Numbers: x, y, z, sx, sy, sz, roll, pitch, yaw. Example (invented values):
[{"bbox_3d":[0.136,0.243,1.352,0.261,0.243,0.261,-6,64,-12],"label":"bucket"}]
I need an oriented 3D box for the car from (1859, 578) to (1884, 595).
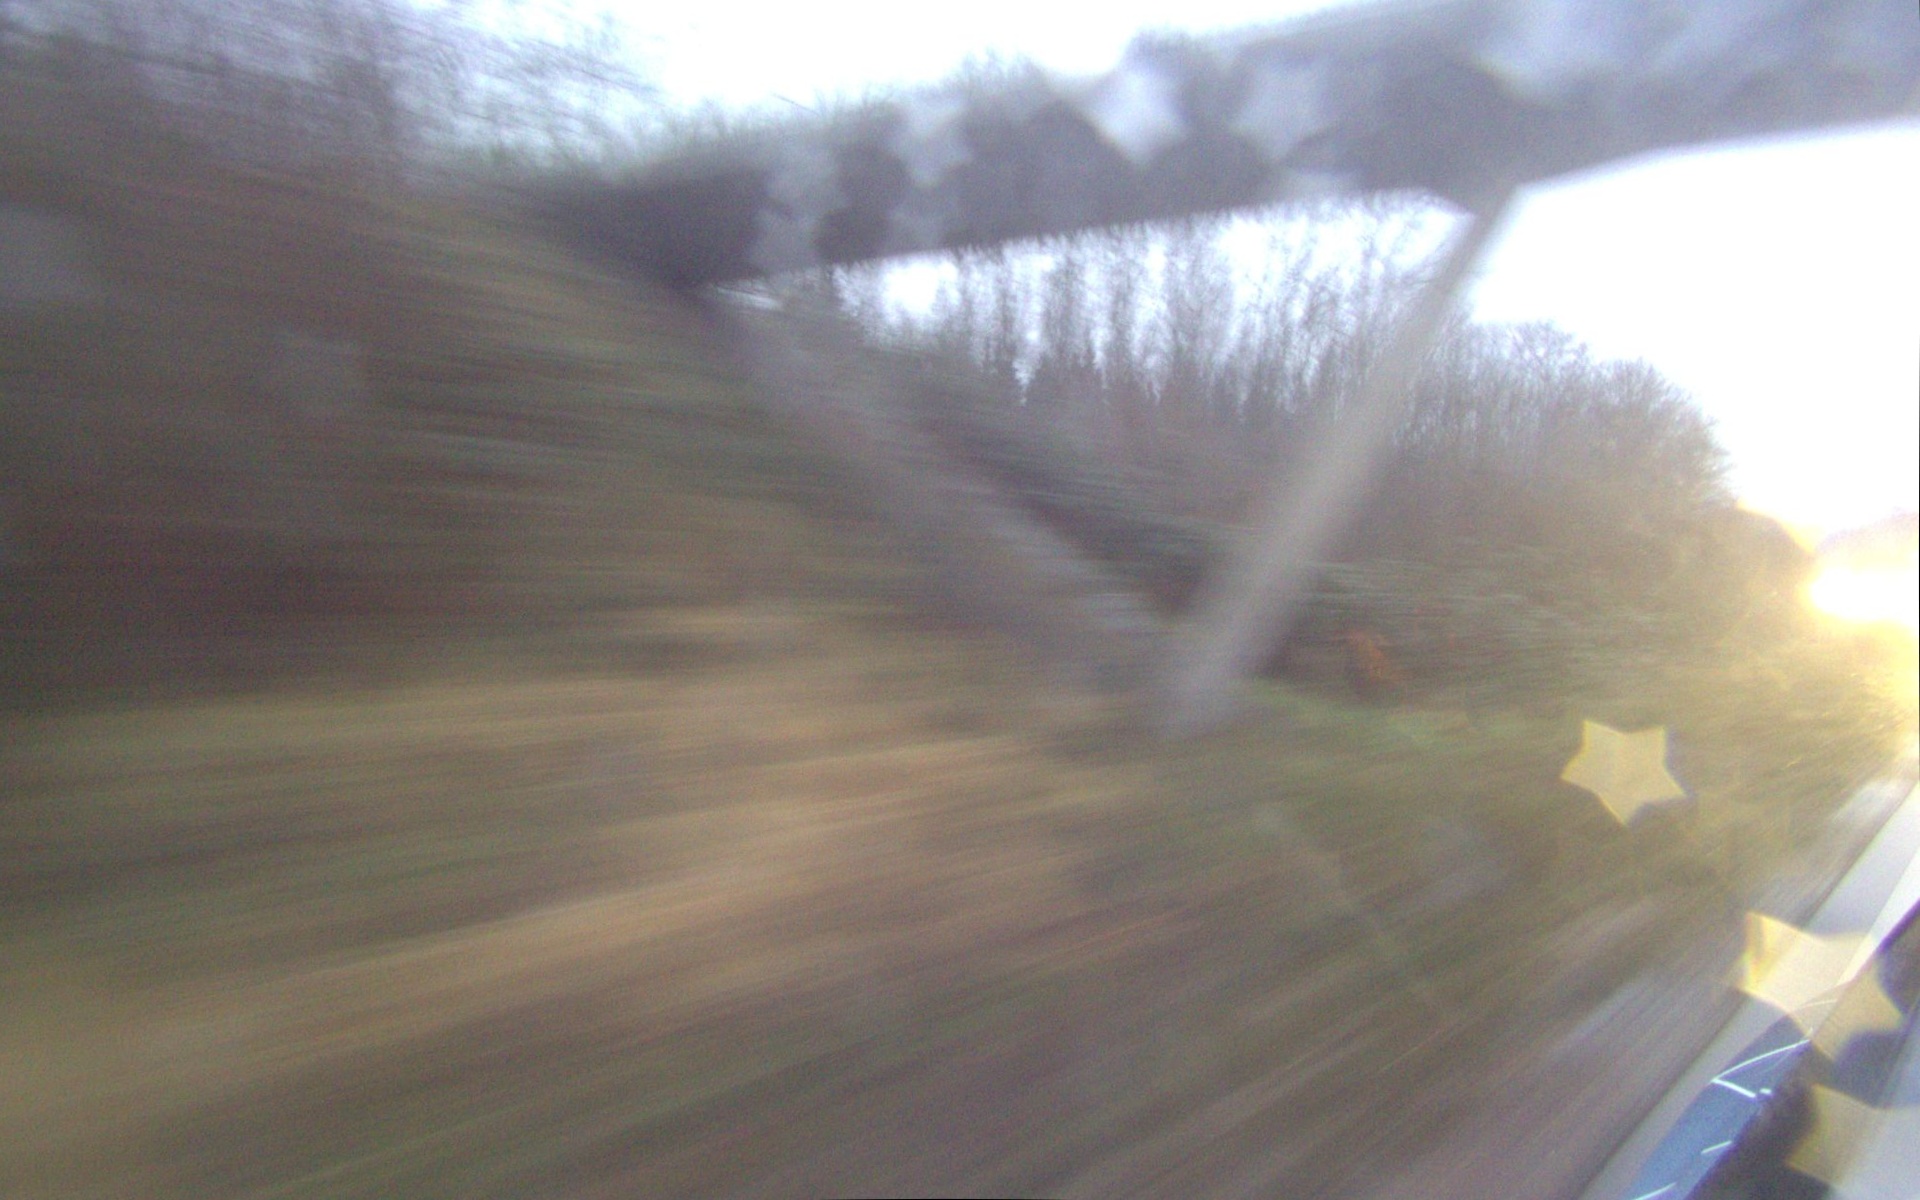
[{"bbox_3d":[97.197,-1.450,107.945,1.693,1.752,3.947,-1,2,38],"label":"car"}]
